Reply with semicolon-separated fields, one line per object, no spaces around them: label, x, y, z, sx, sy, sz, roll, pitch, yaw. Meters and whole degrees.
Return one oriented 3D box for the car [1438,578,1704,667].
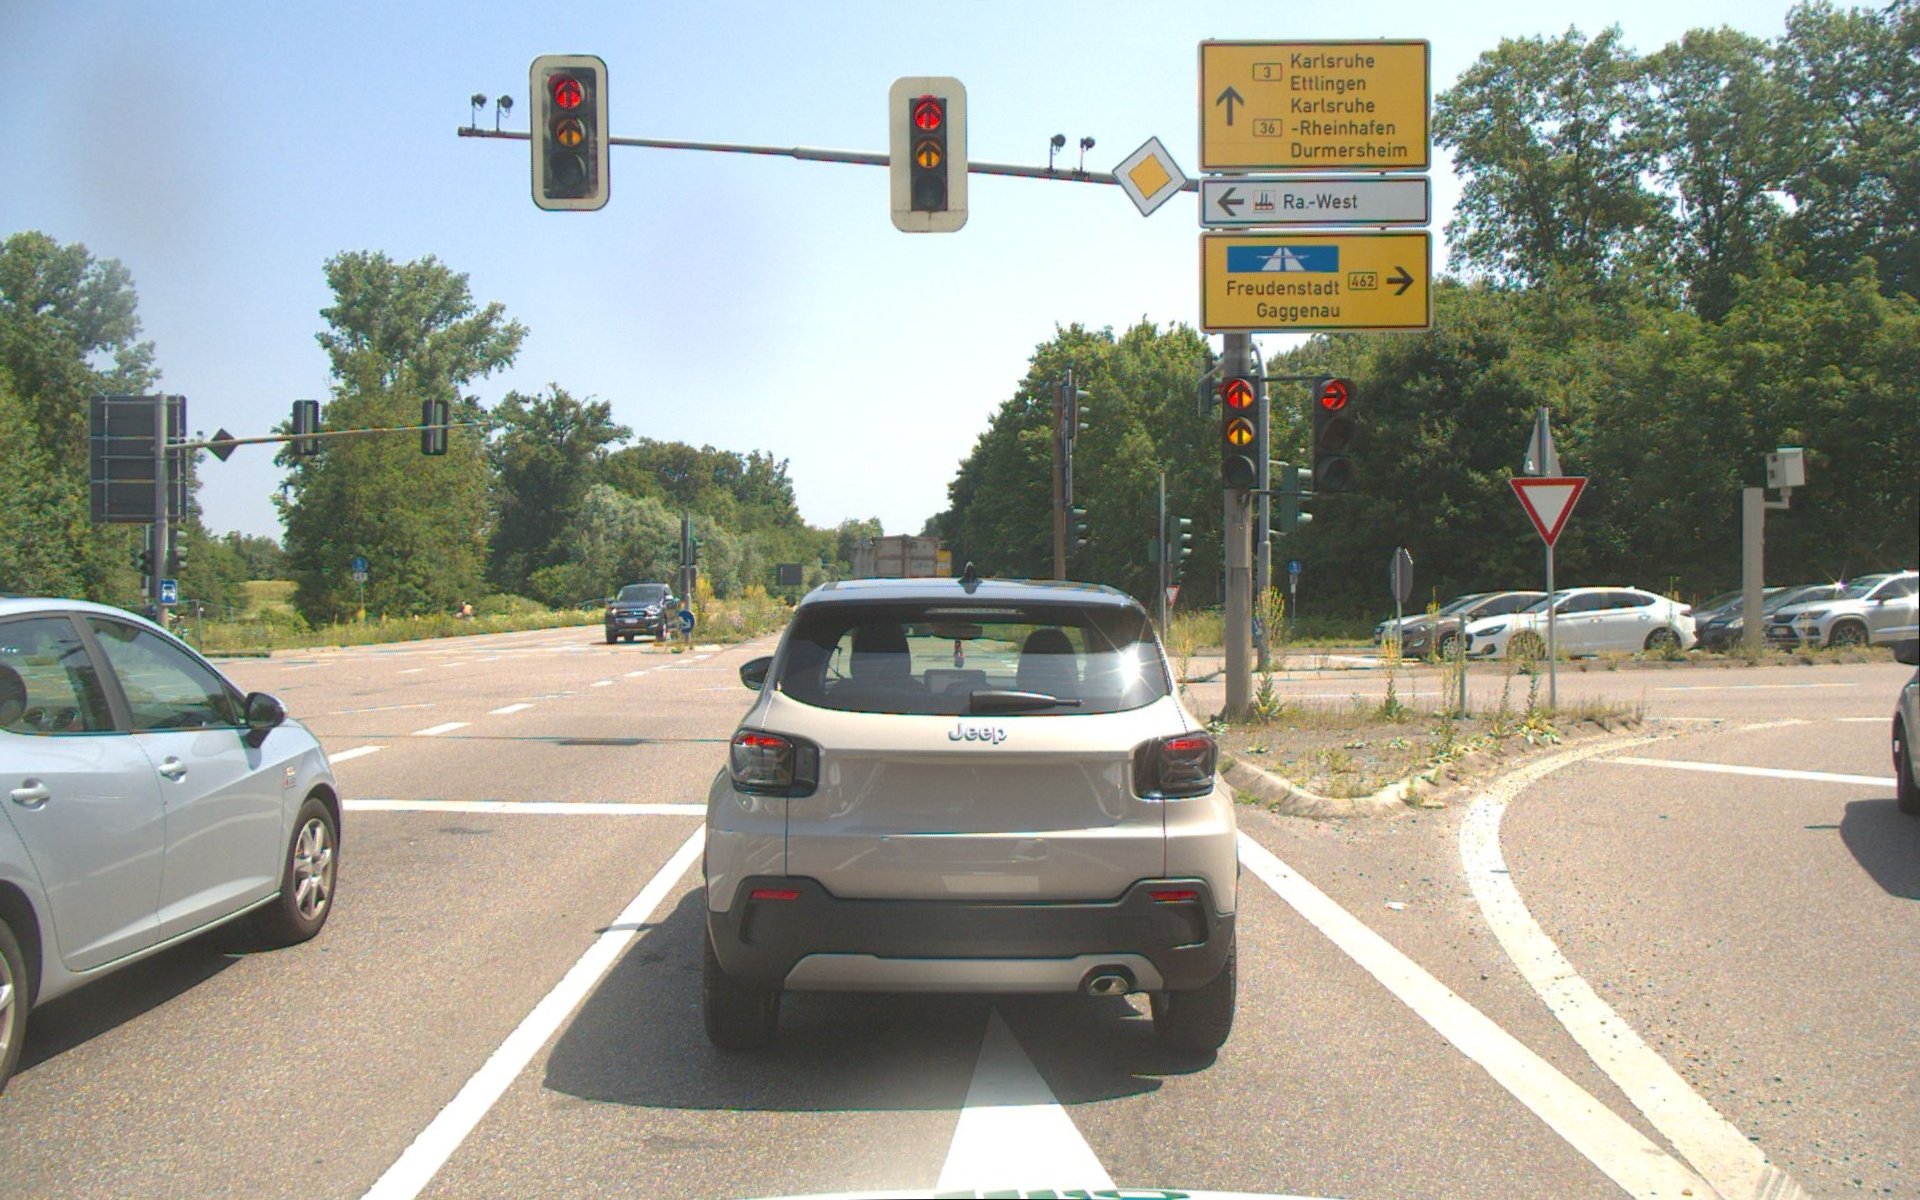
car;11.586;0.409;31.562;4.331;1.562;1.999;-1;0;-3

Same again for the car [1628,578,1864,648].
car;18.387;0.305;38.828;4.523;1.525;2.111;-1;-1;-2

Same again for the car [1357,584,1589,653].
car;12.034;0.437;39.018;4.831;1.525;2.020;-1;-1;-1

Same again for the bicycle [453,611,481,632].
bicycle;-25.763;1.121;86.471;0.661;1.022;1.802;-1;0;8

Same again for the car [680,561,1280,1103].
car;0.032;0.667;6.790;1.731;1.561;3.999;0;0;-1

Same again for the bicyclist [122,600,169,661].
bicyclist;-20.354;0.749;41.339;0.908;1.485;0.713;-1;0;36

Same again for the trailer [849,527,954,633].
trailer;-2.621;-0.763;69.387;3.319;4.058;10.785;1;0;-7

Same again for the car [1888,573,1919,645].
car;23.315;0.133;35.987;5.025;1.560;2.137;-1;-1;-2

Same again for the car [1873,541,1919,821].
car;6.886;0.522;10.097;1.720;1.804;4.113;-1;0;21

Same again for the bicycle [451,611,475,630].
bicycle;-26.729;1.090;89.013;0.591;1.023;1.557;-1;0;9

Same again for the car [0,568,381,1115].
car;-3.375;0.624;5.423;1.632;1.455;3.827;1;0;-1

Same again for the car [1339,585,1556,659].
car;10.377;0.451;35.377;4.011;1.472;1.994;-1;0;-4

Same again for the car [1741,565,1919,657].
car;17.649;0.182;32.029;4.088;1.688;1.999;-1;0;-2

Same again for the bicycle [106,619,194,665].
bicycle;-20.286;1.031;41.446;0.709;1.082;1.863;-1;0;35

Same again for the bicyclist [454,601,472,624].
bicyclist;-26.729;0.650;88.969;0.719;1.216;0.592;-1;0;9

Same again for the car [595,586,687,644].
car;-10.210;0.439;53.260;1.953;1.707;5.364;-2;0;-1

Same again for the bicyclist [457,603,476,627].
bicyclist;-25.781;0.789;86.416;0.741;1.216;0.592;-1;0;9

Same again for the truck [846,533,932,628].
truck;-3.284;-0.837;74.749;3.270;4.058;6.523;1;0;-7

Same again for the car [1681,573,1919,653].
car;17.935;0.270;35.105;4.330;1.562;2.121;-1;-1;-2
